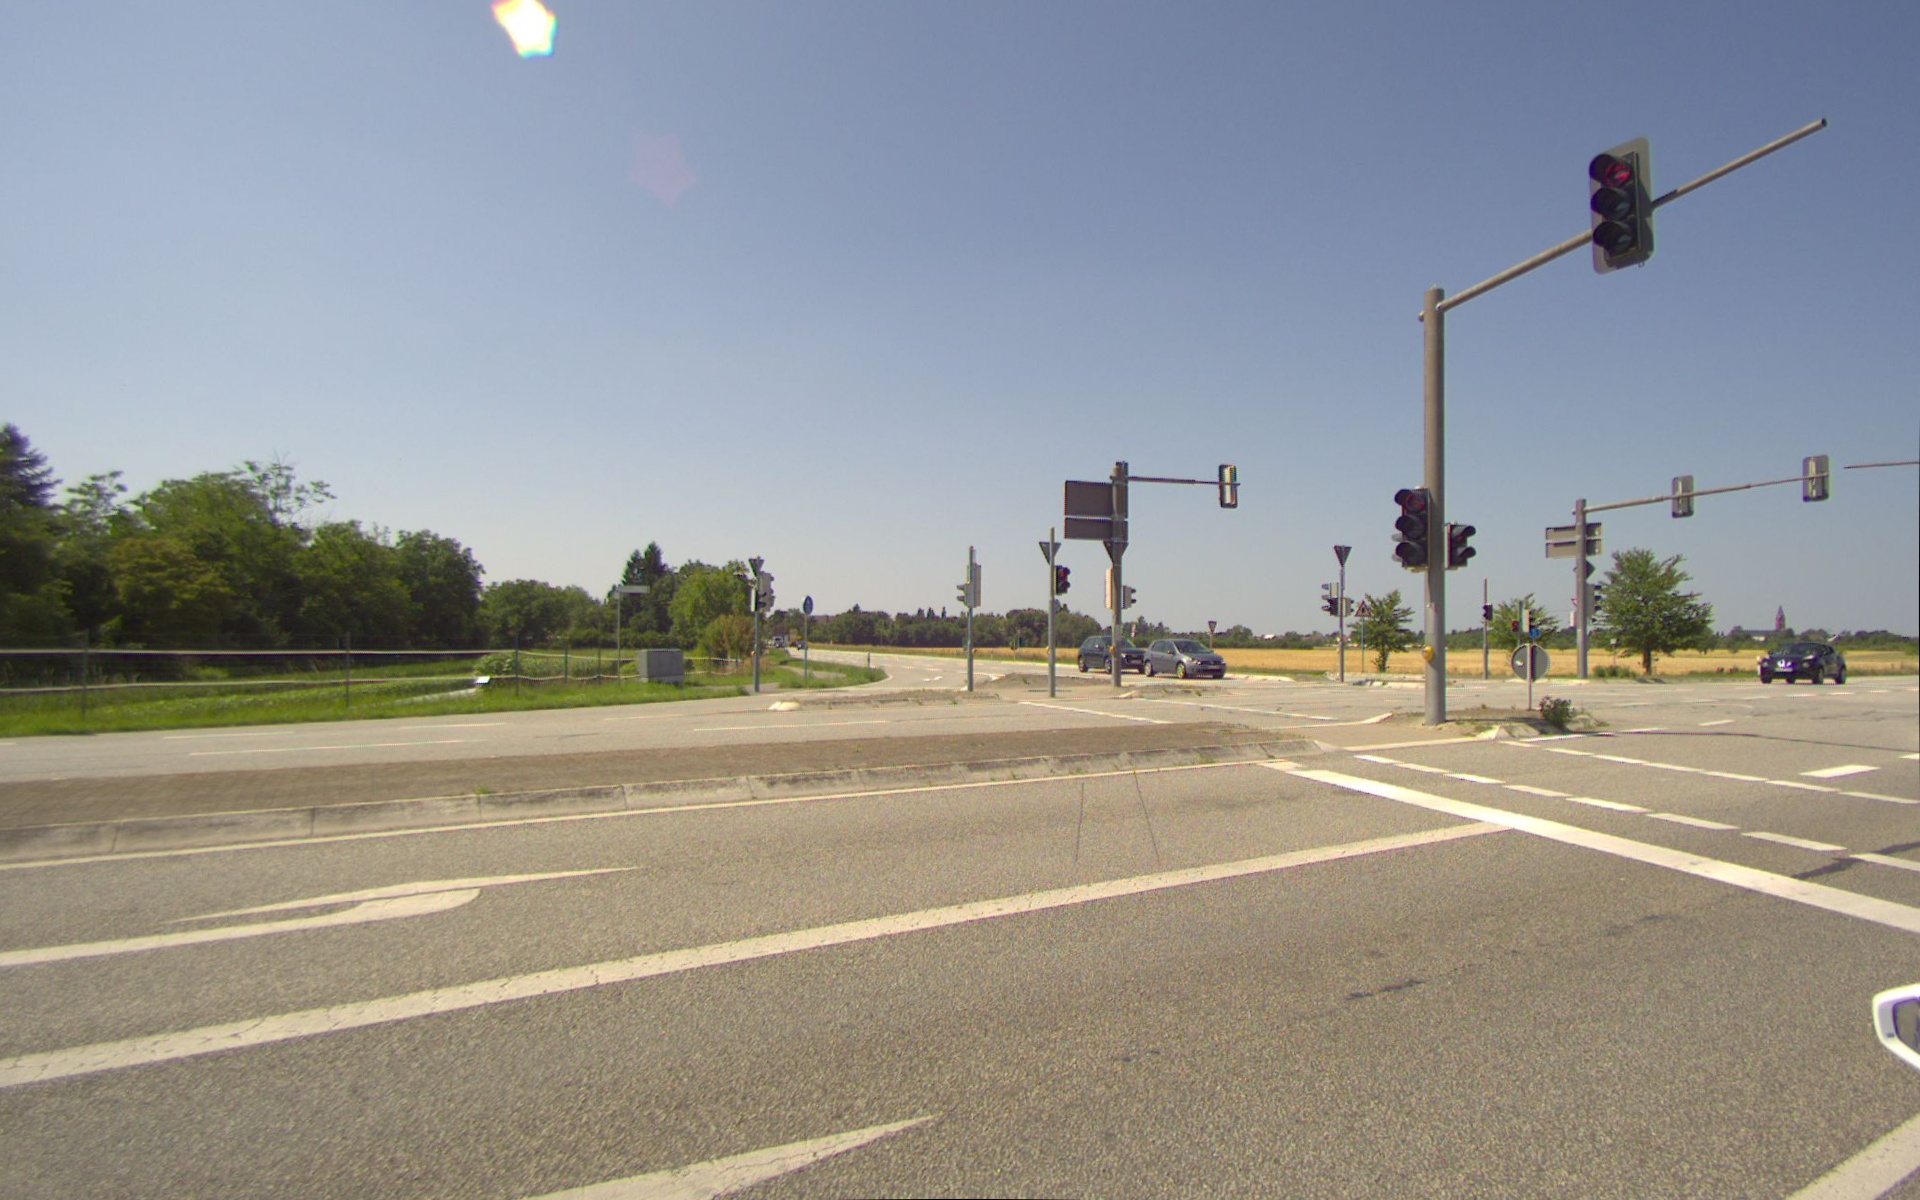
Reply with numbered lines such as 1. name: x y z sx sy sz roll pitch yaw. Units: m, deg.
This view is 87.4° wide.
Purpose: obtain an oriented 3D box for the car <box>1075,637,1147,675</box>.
1. car: 6.610 2.475 44.344 1.607 1.615 4.358 1 -3 -14

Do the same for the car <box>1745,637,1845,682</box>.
1. car: 31.479 2.247 37.822 4.262 1.621 1.819 3 -4 -35

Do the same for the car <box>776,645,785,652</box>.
1. car: -35.319 9.521 197.532 1.474 1.405 3.765 1 -3 -14

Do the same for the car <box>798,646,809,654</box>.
1. car: -26.026 8.364 167.205 1.474 1.405 3.765 1 -3 -14

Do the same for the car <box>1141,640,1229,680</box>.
1. car: 8.524 2.257 38.359 1.608 1.405 3.867 1 -2 -16
